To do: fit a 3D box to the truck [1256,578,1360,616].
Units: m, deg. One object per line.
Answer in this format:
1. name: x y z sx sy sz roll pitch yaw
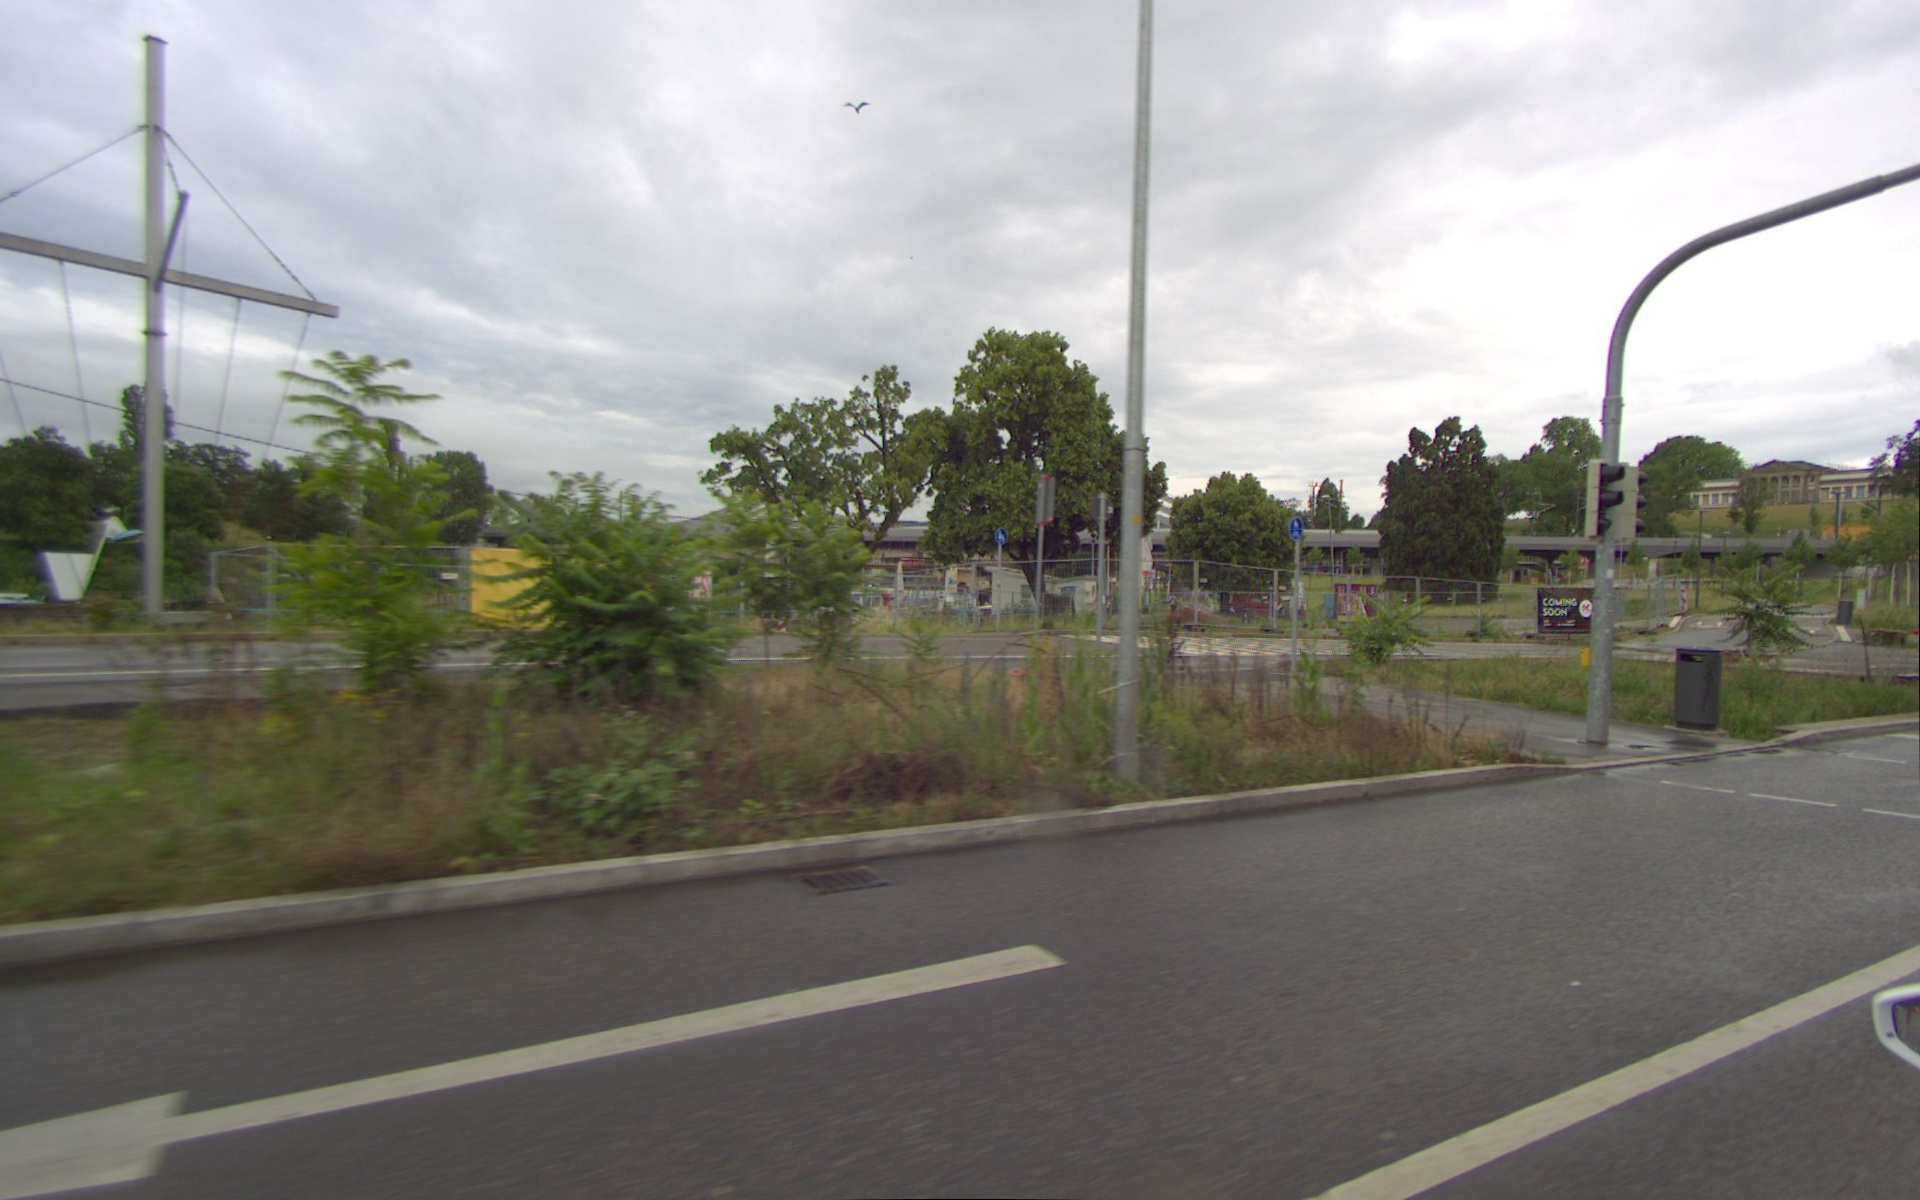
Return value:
1. truck: 28.081 -0.265 81.103 7.807 2.840 2.422 2 2 22
